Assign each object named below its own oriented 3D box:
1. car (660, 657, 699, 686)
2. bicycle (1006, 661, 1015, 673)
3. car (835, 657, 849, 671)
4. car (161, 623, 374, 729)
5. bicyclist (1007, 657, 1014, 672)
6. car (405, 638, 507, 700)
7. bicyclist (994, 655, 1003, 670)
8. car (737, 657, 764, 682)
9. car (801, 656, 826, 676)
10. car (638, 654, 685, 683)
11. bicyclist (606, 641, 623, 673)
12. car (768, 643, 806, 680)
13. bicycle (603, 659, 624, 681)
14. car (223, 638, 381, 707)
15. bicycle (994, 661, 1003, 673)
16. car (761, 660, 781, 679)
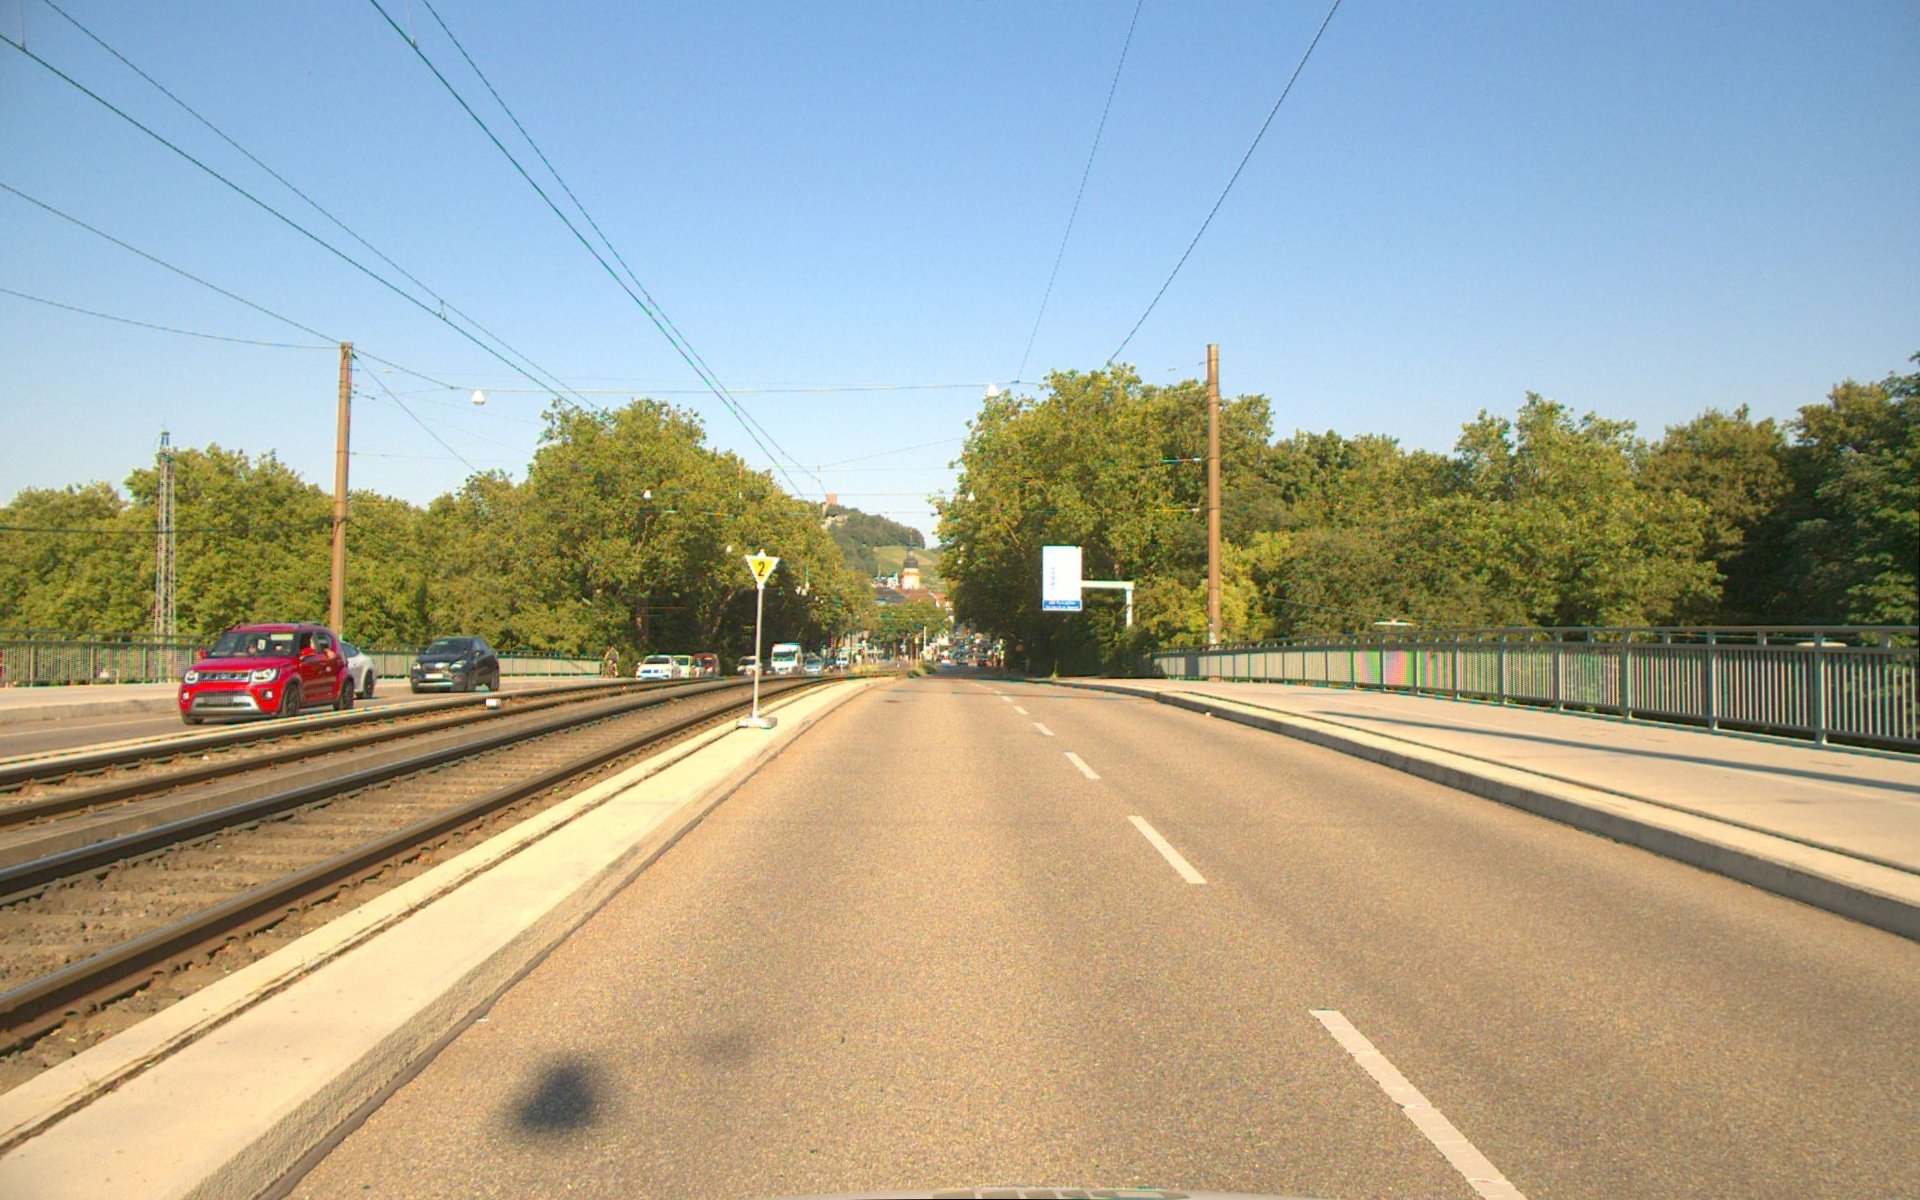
[{"bbox_3d":[-15.539,3.928,91.723,1.600,1.558,3.789,0,-2,-1],"label":"car"},{"bbox_3d":[5.921,7.845,193.792,0.869,1.344,2.639,0,-2,0],"label":"bicycle"},{"bbox_3d":[-17.150,9.364,240.813,1.954,1.877,5.297,-3,-2,-4],"label":"car"},{"bbox_3d":[-11.128,1.241,26.883,1.771,1.546,3.998,1,-3,-1],"label":"car"},{"bbox_3d":[5.920,7.567,193.928,0.869,1.667,1.164,0,-3,0],"label":"bicyclist"},{"bbox_3d":[-14.940,2.011,49.243,1.743,1.679,4.445,0,-1,-1],"label":"car"},{"bbox_3d":[4.641,7.546,199.656,0.869,1.806,1.221,0,-3,-4],"label":"bicyclist"},{"bbox_3d":[-16.507,5.457,130.545,1.707,1.774,4.510,-3,-2,-3],"label":"car"},{"bbox_3d":[-13.736,6.166,155.200,1.835,1.694,4.596,-5,-2,0],"label":"car"},{"bbox_3d":[-15.420,3.526,85.689,1.706,1.490,4.953,0,-2,-2],"label":"car"},{"bbox_3d":[-18.450,3.054,88.398,0.666,1.655,0.889,2,-2,0],"label":"bicyclist"},{"bbox_3d":[-12.921,4.607,123.896,2.044,2.638,6.040,-4,-2,0],"label":"car"},{"bbox_3d":[-18.476,3.711,88.230,0.666,1.117,2.099,2,-2,0],"label":"bicycle"},{"bbox_3d":[-14.720,1.578,37.293,1.650,1.380,4.919,0,-1,-1],"label":"car"},{"bbox_3d":[4.635,8.091,199.793,0.869,1.344,2.636,0,-2,-4],"label":"bicycle"},{"bbox_3d":[-16.647,6.126,145.720,1.708,1.665,3.995,-1,-2,-5],"label":"car"}]
